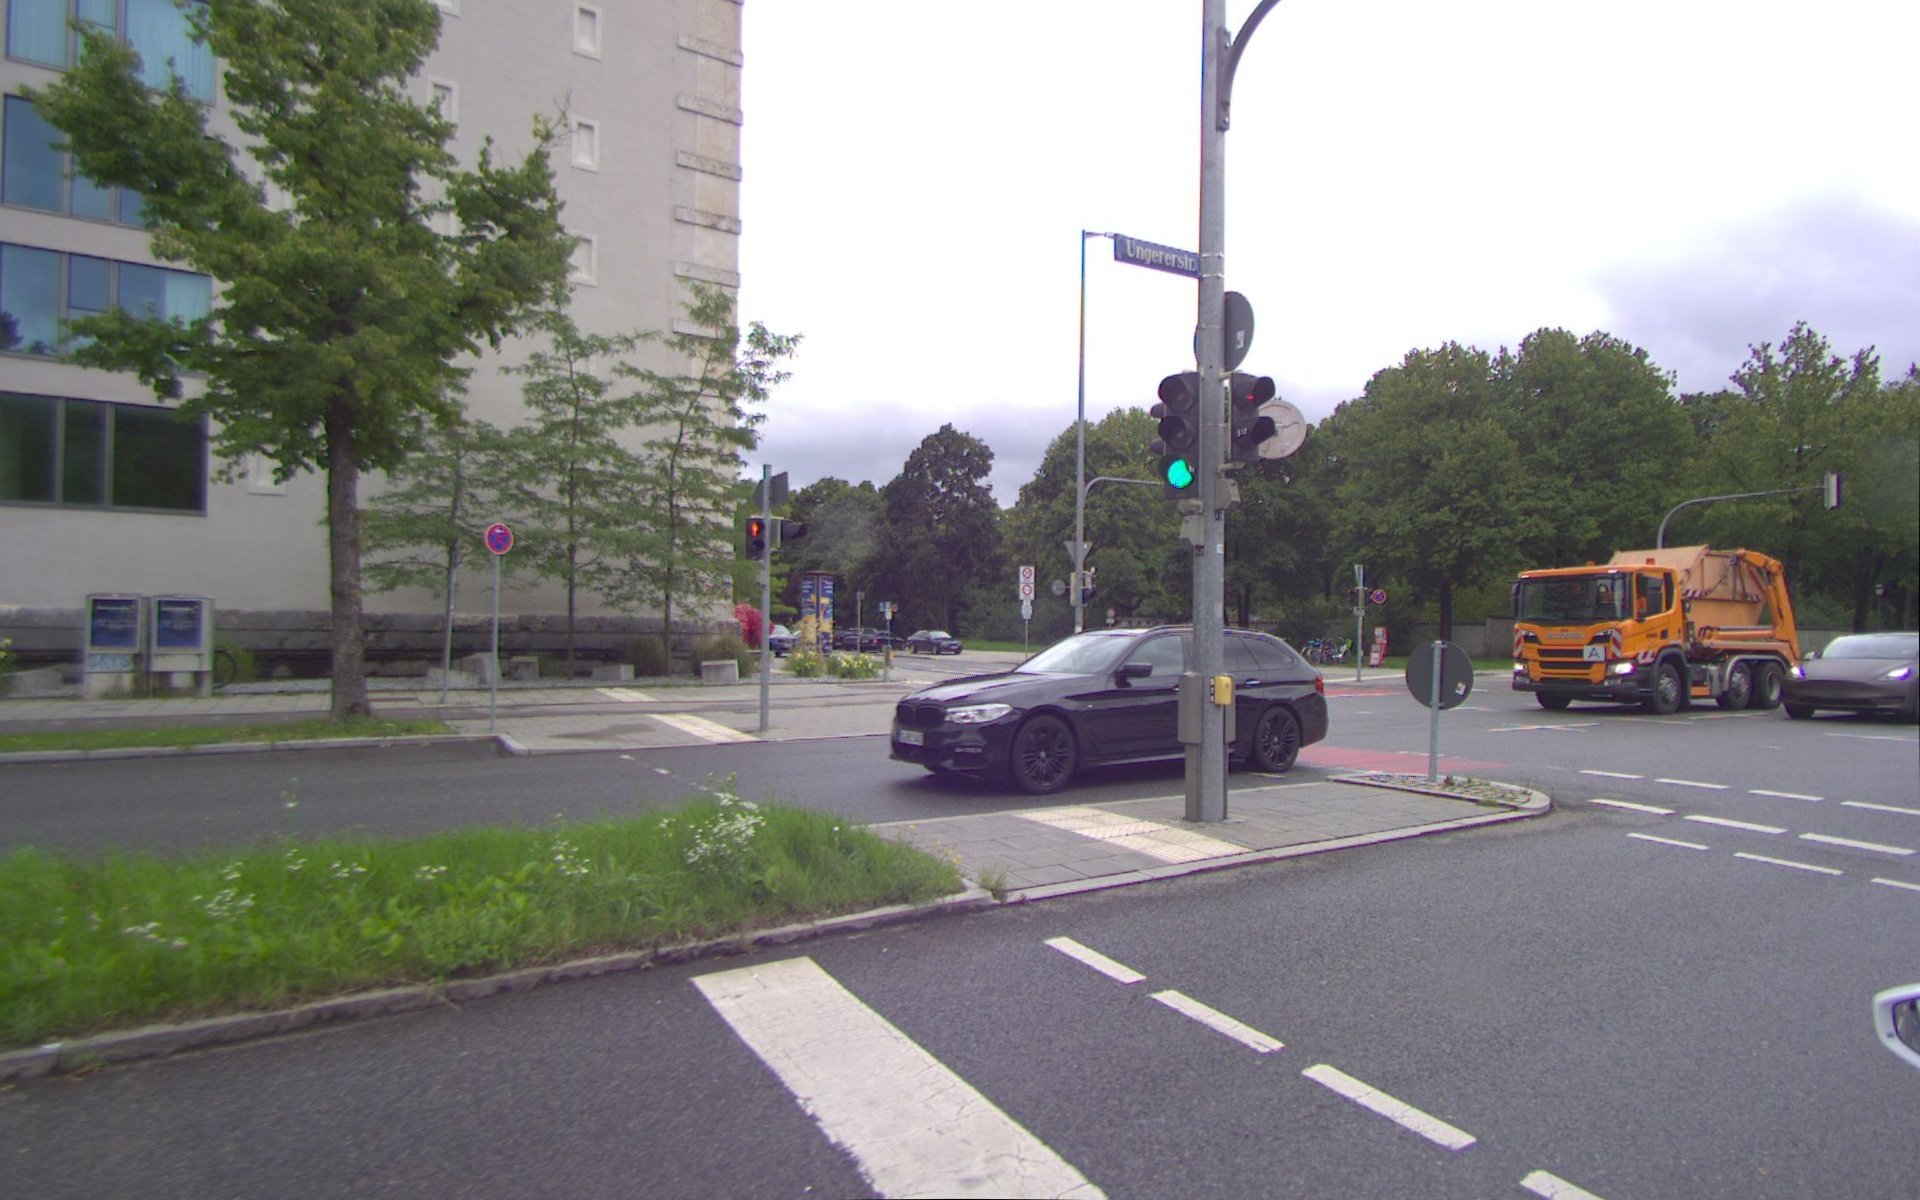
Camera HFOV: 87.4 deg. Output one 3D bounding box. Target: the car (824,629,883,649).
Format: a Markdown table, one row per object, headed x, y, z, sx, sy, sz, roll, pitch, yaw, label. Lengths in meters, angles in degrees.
| x | y | z | sx | sy | sz | roll | pitch | yaw | label |
| --- | --- | --- | --- | --- | --- | --- | --- | --- | --- |
| -7.896 | 2.887 | 74.813 | 1.900 | 1.435 | 4.190 | 0 | -2 | 44 | car |

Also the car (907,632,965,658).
| x | y | z | sx | sy | sz | roll | pitch | yaw | label |
| --- | --- | --- | --- | --- | --- | --- | --- | --- | --- |
| -1.532 | 2.733 | 61.376 | 1.822 | 1.435 | 4.183 | 1 | -1 | -29 | car |

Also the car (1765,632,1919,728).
| x | y | z | sx | sy | sz | roll | pitch | yaw | label |
| --- | --- | --- | --- | --- | --- | --- | --- | --- | --- |
| 17.066 | 1.409 | 18.577 | 4.693 | 1.562 | 1.853 | 2 | -2 | -30 | car |

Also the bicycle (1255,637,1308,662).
| x | y | z | sx | sy | sz | roll | pitch | yaw | label |
| --- | --- | --- | --- | --- | --- | --- | --- | --- | --- |
| 15.611 | 2.393 | 48.724 | 2.851 | 1.202 | 0.831 | 2 | -1 | -32 | bicycle |

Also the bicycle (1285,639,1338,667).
| x | y | z | sx | sy | sz | roll | pitch | yaw | label |
| --- | --- | --- | --- | --- | --- | --- | --- | --- | --- |
| 15.472 | 2.322 | 44.187 | 2.468 | 1.202 | 0.831 | 2 | -1 | -32 | bicycle |

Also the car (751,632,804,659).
| x | y | z | sx | sy | sz | roll | pitch | yaw | label |
| --- | --- | --- | --- | --- | --- | --- | --- | --- | --- |
| -10.345 | 2.548 | 56.678 | 1.901 | 1.435 | 4.188 | 1 | -1 | -26 | car |

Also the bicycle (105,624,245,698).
| x | y | z | sx | sy | sz | roll | pitch | yaw | label |
| --- | --- | --- | --- | --- | --- | --- | --- | --- | --- |
| -13.348 | 1.022 | 17.148 | 1.806 | 1.197 | 0.542 | 1 | -1 | -31 | bicycle |

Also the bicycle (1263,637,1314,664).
| x | y | z | sx | sy | sz | roll | pitch | yaw | label |
| --- | --- | --- | --- | --- | --- | --- | --- | --- | --- |
| 15.261 | 2.347 | 46.635 | 2.468 | 1.202 | 0.831 | 2 | -1 | -32 | bicycle |

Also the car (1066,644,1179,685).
| x | y | z | sx | sy | sz | roll | pitch | yaw | label |
| --- | --- | --- | --- | --- | --- | --- | --- | --- | --- |
| 6.228 | 2.464 | 38.891 | 1.912 | 1.481 | 4.325 | 2 | -4 | -34 | car |

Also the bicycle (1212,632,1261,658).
| x | y | z | sx | sy | sz | roll | pitch | yaw | label |
| --- | --- | --- | --- | --- | --- | --- | --- | --- | --- |
| 13.340 | 2.182 | 48.453 | 2.468 | 1.202 | 0.831 | 1 | -1 | -32 | bicycle |

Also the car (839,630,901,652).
| x | y | z | sx | sy | sz | roll | pitch | yaw | label |
| --- | --- | --- | --- | --- | --- | --- | --- | --- | --- |
| -6.392 | 2.918 | 71.758 | 1.900 | 1.435 | 4.190 | 0 | -2 | 44 | car |

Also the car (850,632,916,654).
| x | y | z | sx | sy | sz | roll | pitch | yaw | label |
| --- | --- | --- | --- | --- | --- | --- | --- | --- | --- |
| -5.163 | 2.873 | 67.714 | 4.183 | 1.435 | 1.903 | 2 | -2 | -42 | car |

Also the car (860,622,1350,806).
| x | y | z | sx | sy | sz | roll | pitch | yaw | label |
| --- | --- | --- | --- | --- | --- | --- | --- | --- | --- |
| 1.580 | 1.018 | 10.208 | 4.843 | 1.481 | 1.917 | 2 | -3 | -31 | car |

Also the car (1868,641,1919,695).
| x | y | z | sx | sy | sz | roll | pitch | yaw | label |
| --- | --- | --- | --- | --- | --- | --- | --- | --- | --- |
| 27.531 | 1.888 | 28.241 | 4.165 | 1.434 | 1.716 | 2 | -3 | -30 | car |

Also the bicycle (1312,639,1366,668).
| x | y | z | sx | sy | sz | roll | pitch | yaw | label |
| --- | --- | --- | --- | --- | --- | --- | --- | --- | --- |
| 16.266 | 2.290 | 43.066 | 2.468 | 1.202 | 0.831 | 2 | -1 | -32 | bicycle |

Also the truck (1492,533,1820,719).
| x | y | z | sx | sy | sz | roll | pitch | yaw | label |
| --- | --- | --- | --- | --- | --- | --- | --- | --- | --- |
| 14.829 | 0.589 | 21.281 | 7.175 | 3.400 | 2.769 | 2 | -1 | -28 | truck |
